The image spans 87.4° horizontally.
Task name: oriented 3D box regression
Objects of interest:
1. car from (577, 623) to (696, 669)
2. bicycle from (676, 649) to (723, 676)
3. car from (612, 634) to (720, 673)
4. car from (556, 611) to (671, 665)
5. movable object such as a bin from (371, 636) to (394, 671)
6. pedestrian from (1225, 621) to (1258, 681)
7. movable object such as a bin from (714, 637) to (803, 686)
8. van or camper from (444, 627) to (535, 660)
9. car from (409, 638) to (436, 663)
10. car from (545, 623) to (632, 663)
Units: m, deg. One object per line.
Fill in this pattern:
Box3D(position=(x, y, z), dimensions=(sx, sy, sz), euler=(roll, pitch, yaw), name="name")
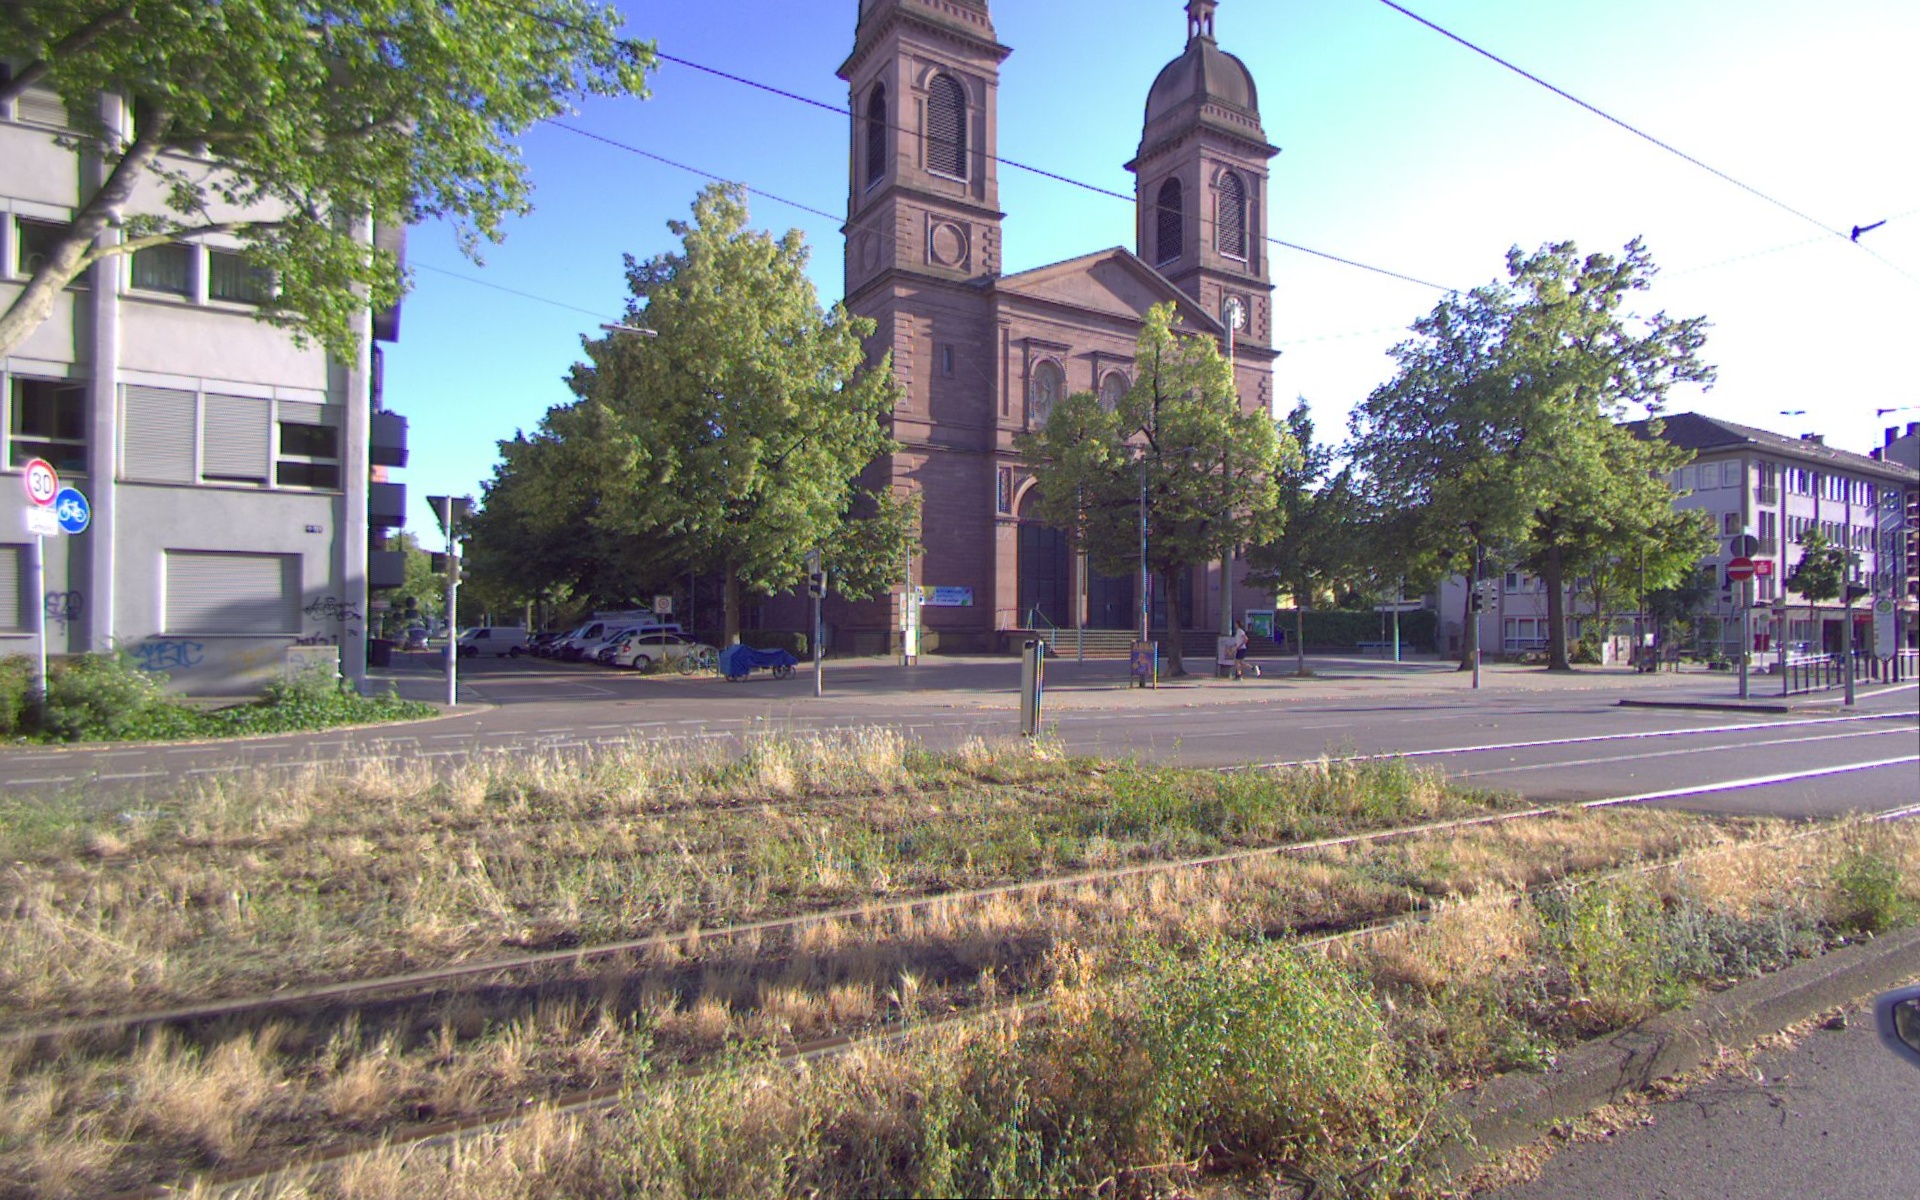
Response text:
Box3D(position=(-15.523, 2.208, 48.315), dimensions=(5.121, 2.040, 1.981), euler=(2, 0, -34), name="car")
Box3D(position=(-9.062, 2.186, 34.961), dimensions=(1.517, 0.904, 0.465), euler=(2, 0, -27), name="bicycle")
Box3D(position=(-12.227, 2.205, 41.821), dimensions=(3.953, 1.479, 1.984), euler=(2, 0, -30), name="car")
Box3D(position=(-18.295, 1.996, 53.109), dimensions=(5.382, 2.710, 1.980), euler=(2, 0, -36), name="car")
Box3D(position=(-22.303, 2.059, 38.806), dimensions=(0.737, 1.323, 0.865), euler=(1, -2, -32), name="movable object such as a bin")
Box3D(position=(8.522, 1.537, 30.419), dimensions=(0.680, 1.794, 0.675), euler=(1, -2, -37), name="pedestrian")
Box3D(position=(-6.154, 1.852, 30.711), dimensions=(2.416, 1.228, 1.102), euler=(-3, 2, -30), name="movable object such as a bin")
Box3D(position=(-30.406, 2.803, 65.081), dimensions=(1.966, 2.040, 5.122), euler=(-1, -2, 32), name="van or camper")
Box3D(position=(-45.769, 4.260, 85.470), dimensions=(1.976, 2.040, 3.970), euler=(1, -2, -29), name="car")
Box3D(position=(-20.424, 2.340, 55.266), dimensions=(4.174, 2.040, 1.981), euler=(2, 0, -34), name="car")
